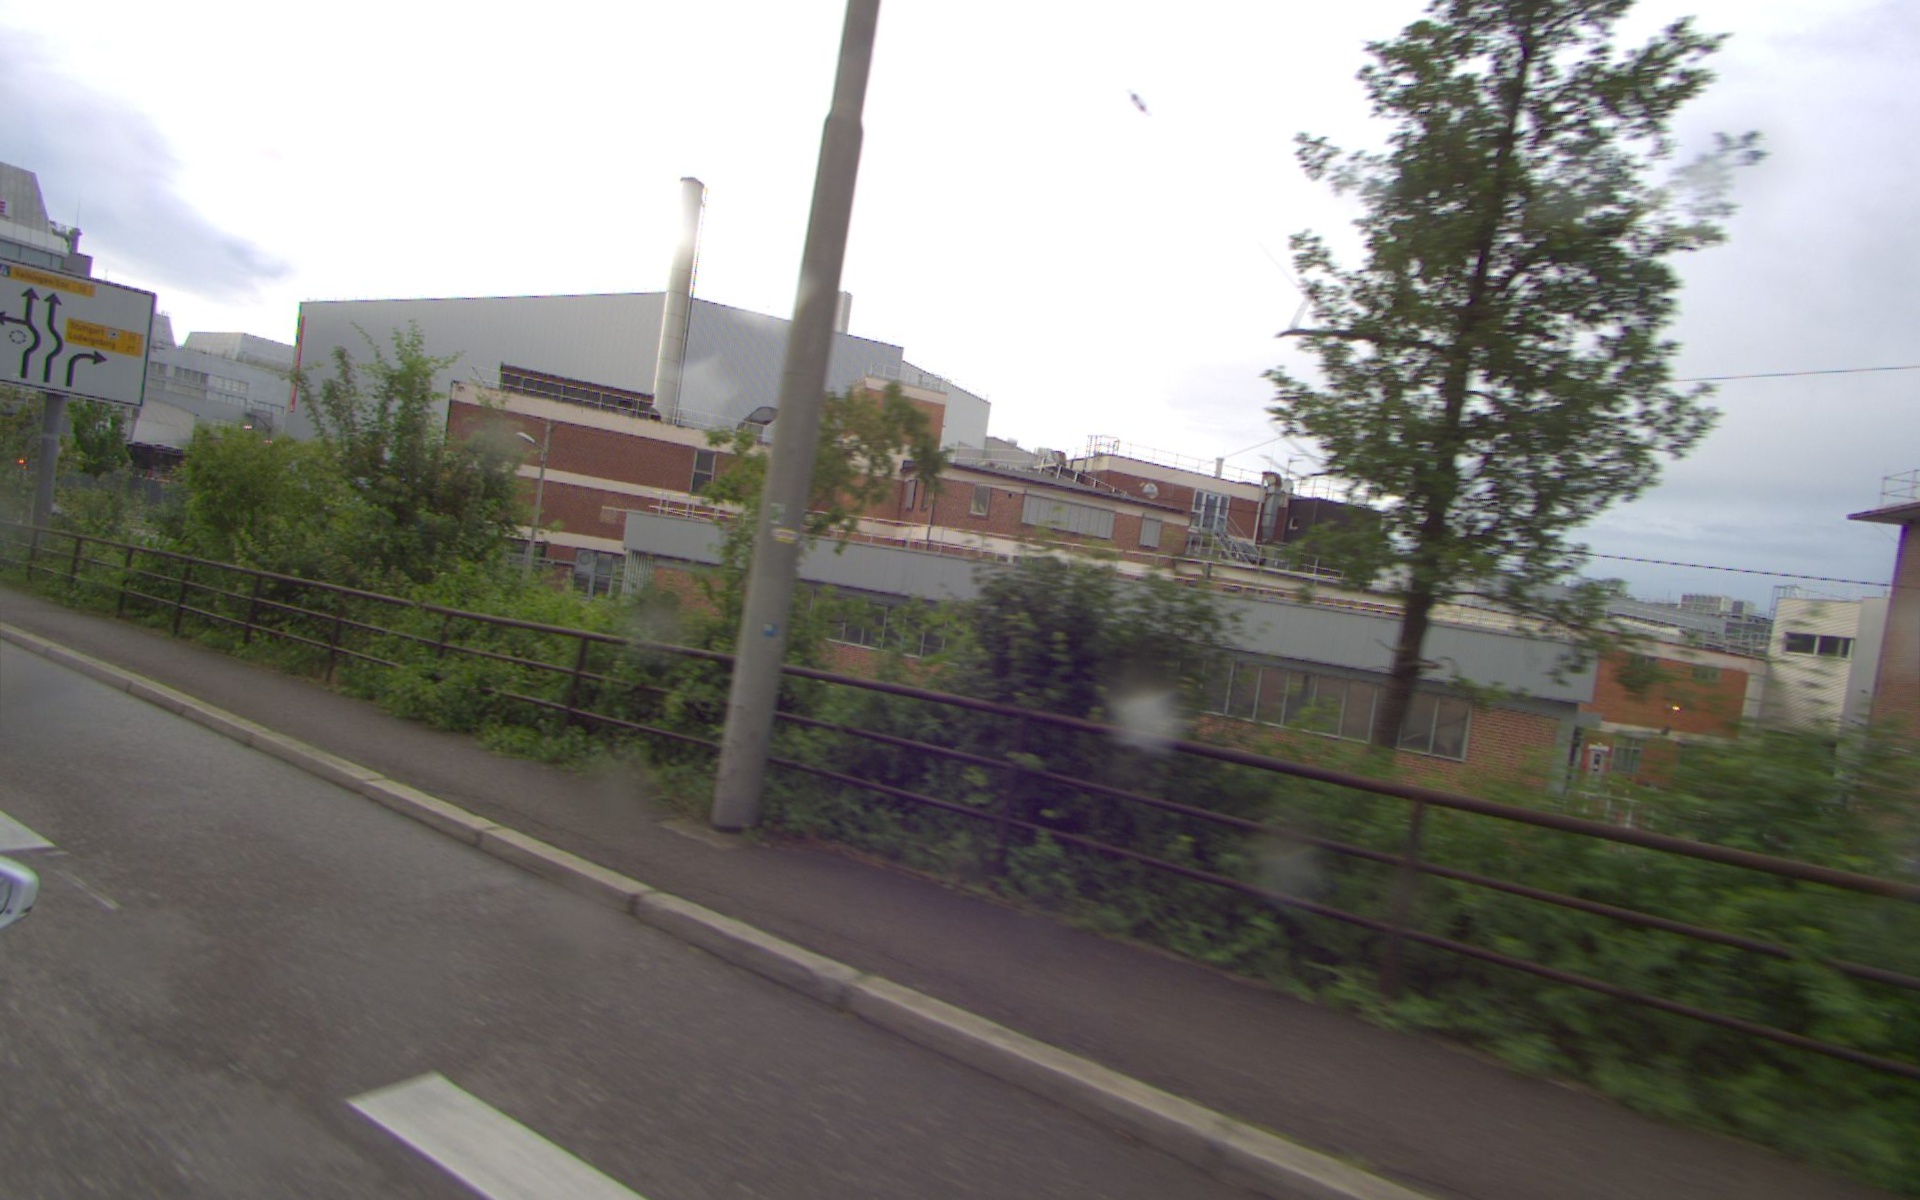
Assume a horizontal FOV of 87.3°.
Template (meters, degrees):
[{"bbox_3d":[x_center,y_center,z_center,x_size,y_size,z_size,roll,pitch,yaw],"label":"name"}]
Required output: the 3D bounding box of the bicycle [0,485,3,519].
[{"bbox_3d":[-30.654,-3.053,30.740,0.588,1.193,1.932,7,1,16],"label":"bicycle"}]

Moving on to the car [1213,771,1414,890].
[{"bbox_3d":[7.547,4.864,21.624,3.785,1.505,1.703,8,1,21],"label":"car"}]

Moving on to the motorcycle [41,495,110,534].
[{"bbox_3d":[-41.144,-3.961,46.842,2.216,1.470,0.749,7,1,-36],"label":"motorcycle"}]
